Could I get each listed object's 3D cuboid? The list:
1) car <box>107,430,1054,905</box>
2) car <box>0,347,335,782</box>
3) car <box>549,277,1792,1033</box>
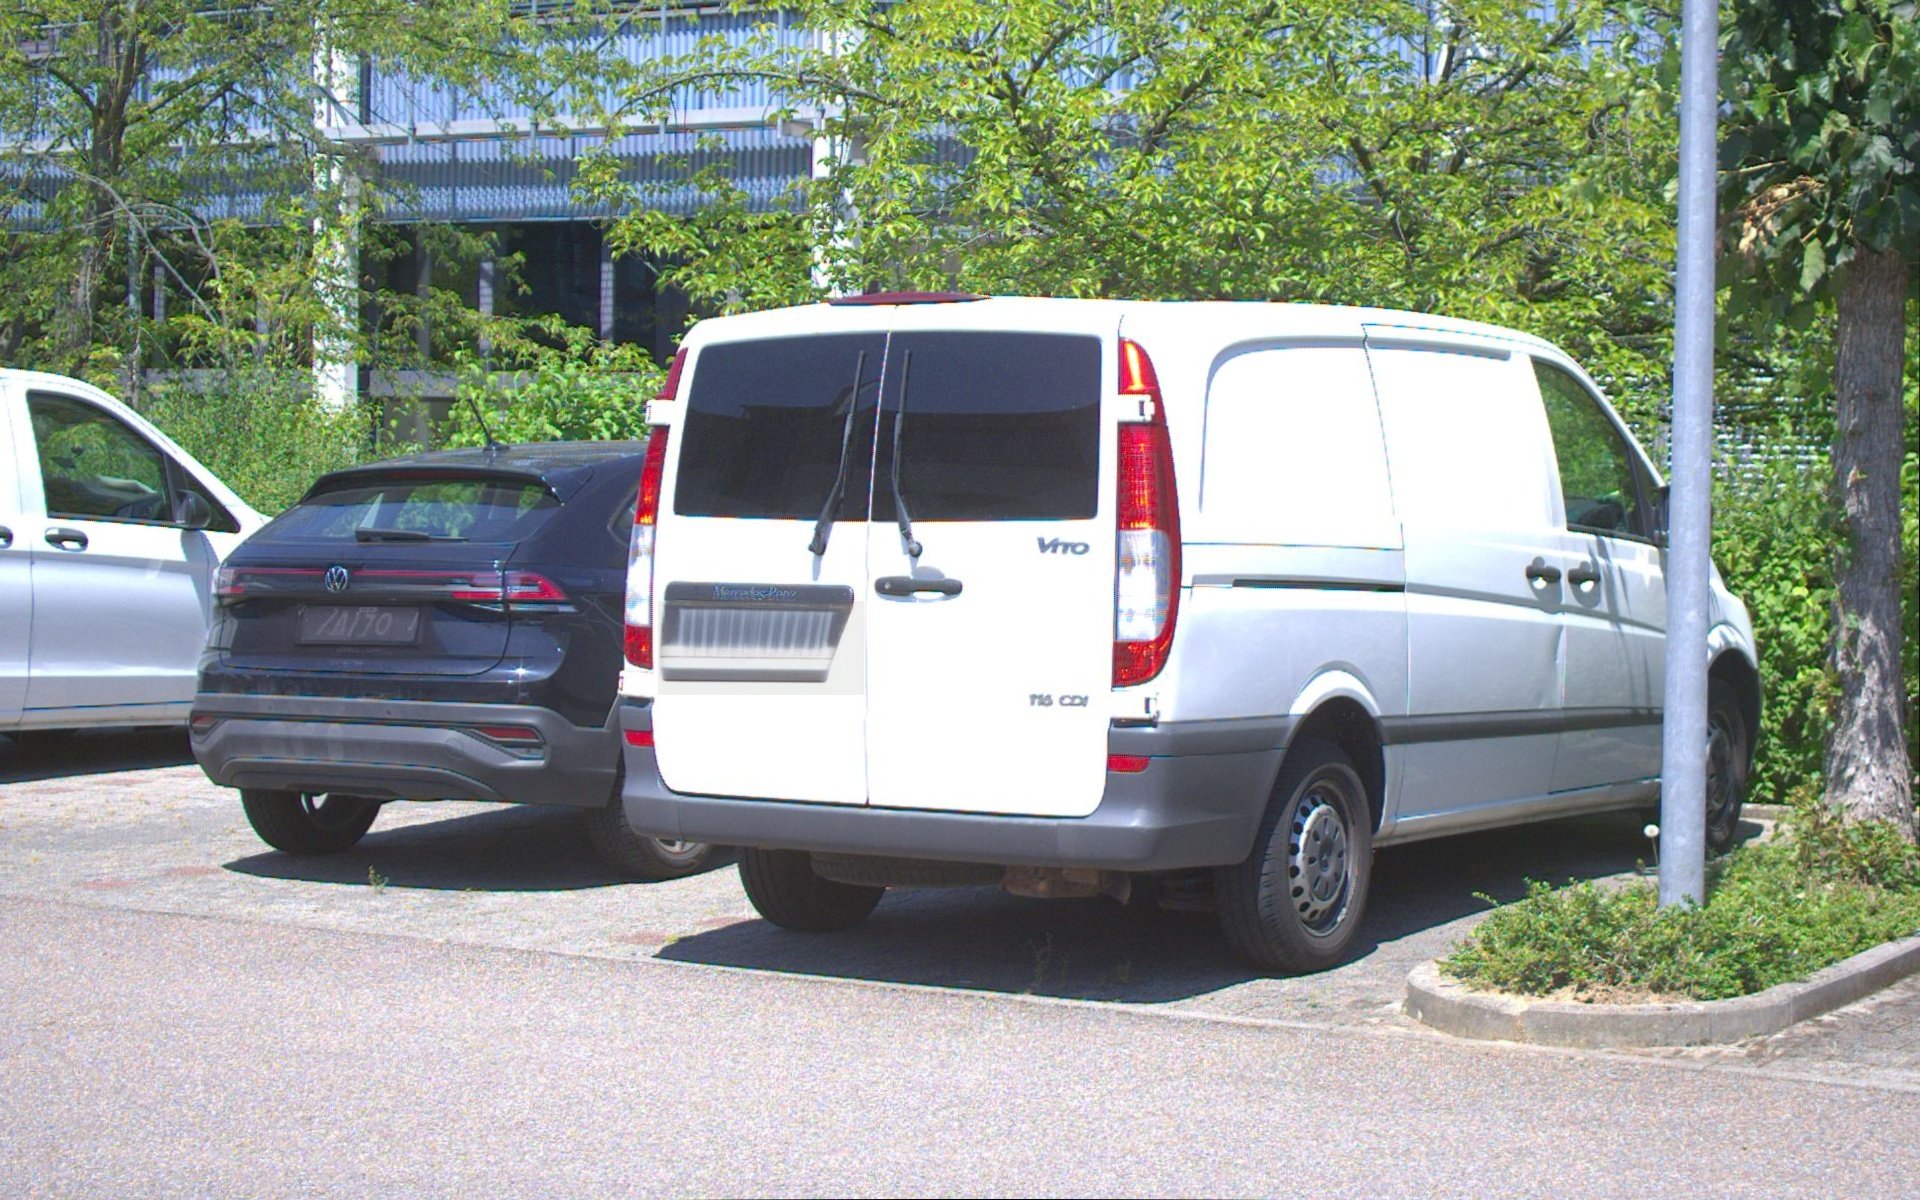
[{"bbox_3d":[-1.240,0.117,13.087,1.756,1.471,3.995,1,3,25],"label":"car"},{"bbox_3d":[-5.163,-0.158,15.077,1.885,1.884,4.794,2,4,35],"label":"car"},{"bbox_3d":[0.962,0.007,11.154,1.916,1.898,4.800,1,3,33],"label":"car"}]
